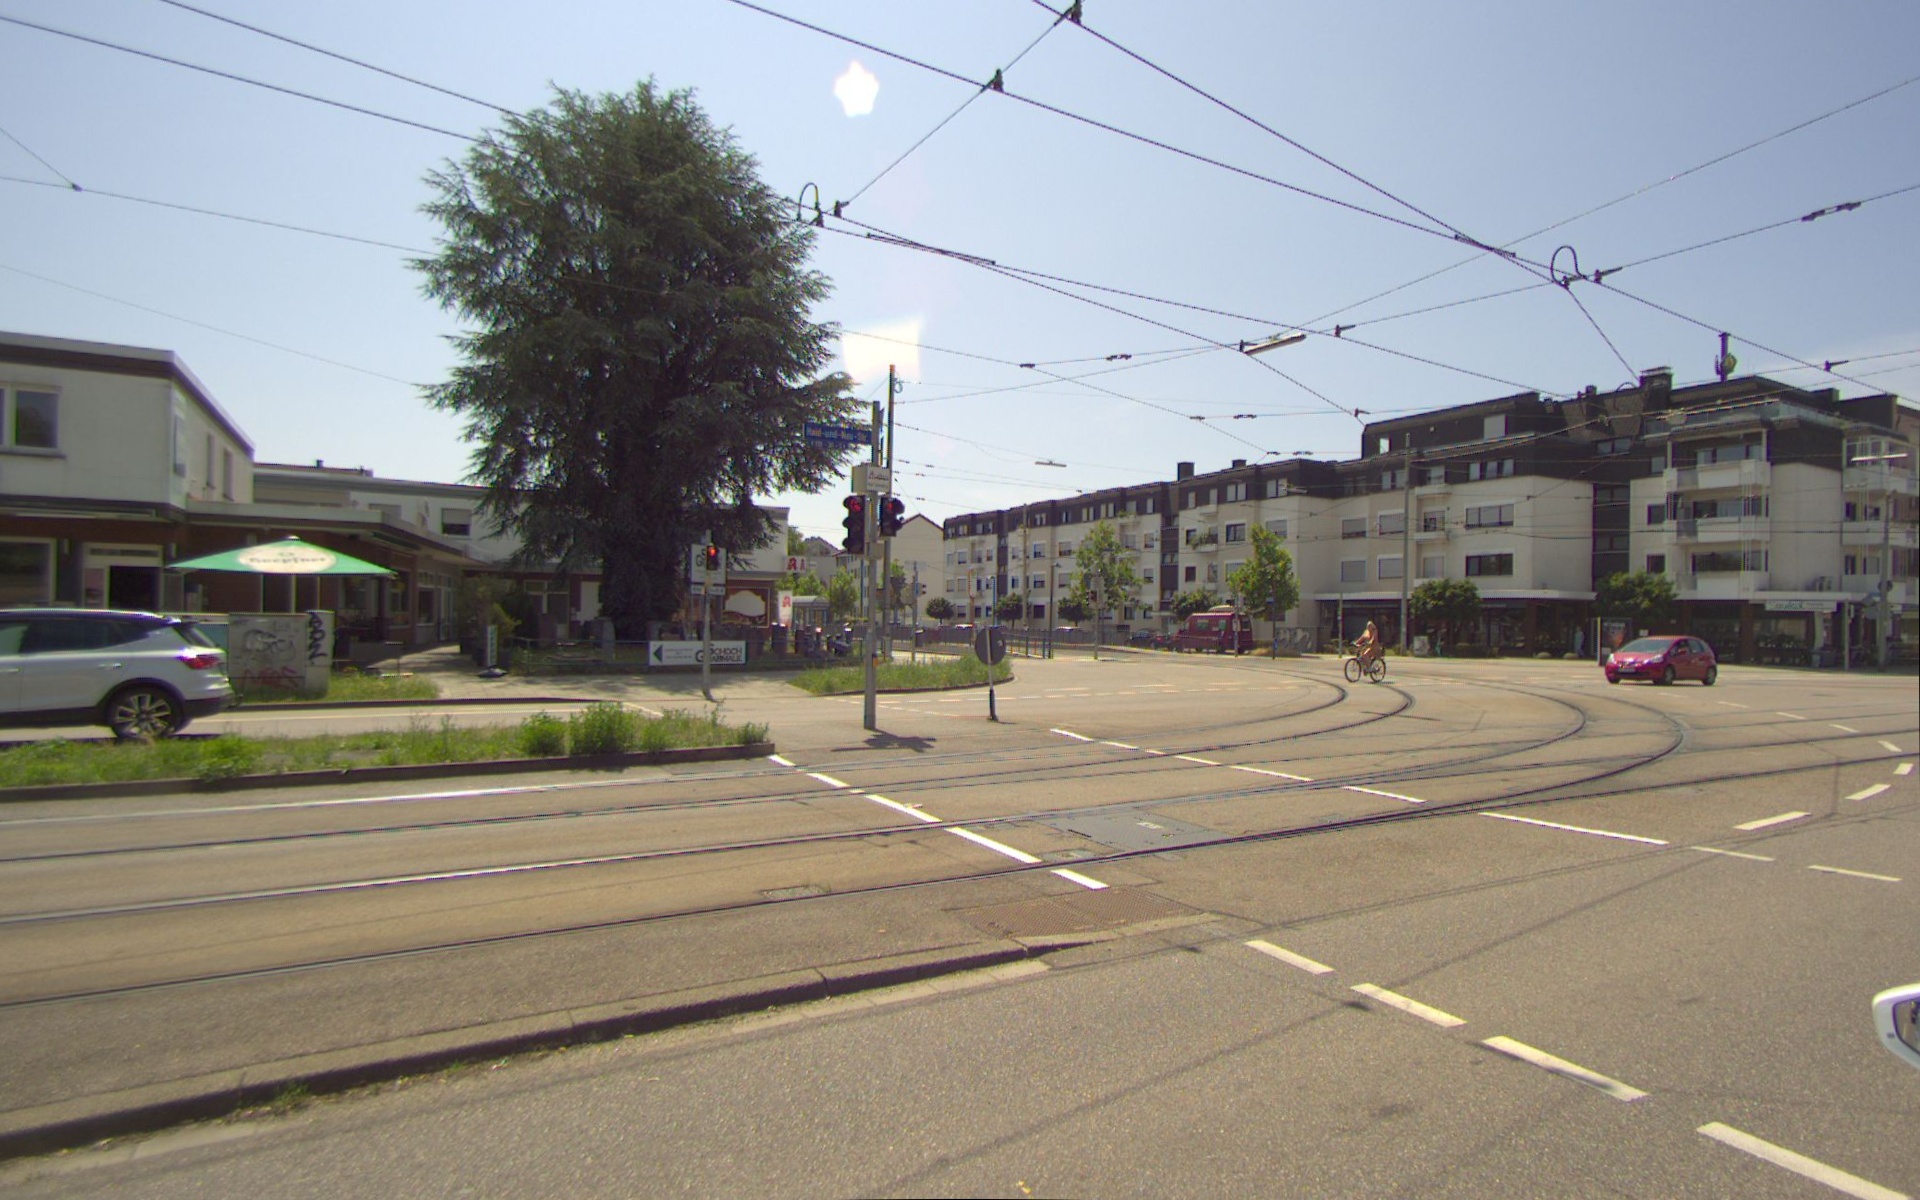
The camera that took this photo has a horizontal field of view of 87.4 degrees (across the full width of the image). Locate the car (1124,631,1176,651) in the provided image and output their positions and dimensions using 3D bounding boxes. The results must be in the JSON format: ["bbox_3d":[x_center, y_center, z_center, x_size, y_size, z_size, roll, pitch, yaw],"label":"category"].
[{"bbox_3d":[12.805,2.747,67.739,1.571,1.235,3.555,1,-2,-28],"label":"car"}]

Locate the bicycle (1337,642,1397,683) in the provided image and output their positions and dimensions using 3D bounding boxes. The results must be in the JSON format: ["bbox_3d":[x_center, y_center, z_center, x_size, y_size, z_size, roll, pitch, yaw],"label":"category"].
[{"bbox_3d":[12.262,1.869,30.247,1.909,1.164,0.691,1,-1,-31],"label":"bicycle"}]

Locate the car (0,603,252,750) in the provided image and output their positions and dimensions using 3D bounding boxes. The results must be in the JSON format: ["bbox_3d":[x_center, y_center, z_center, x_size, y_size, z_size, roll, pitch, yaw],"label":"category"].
[{"bbox_3d":[-10.784,0.869,11.654,4.096,1.573,1.982,2,-4,-34],"label":"car"}]

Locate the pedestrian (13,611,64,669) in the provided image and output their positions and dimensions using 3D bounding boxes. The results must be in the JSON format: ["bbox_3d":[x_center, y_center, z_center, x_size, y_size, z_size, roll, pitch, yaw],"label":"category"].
[{"bbox_3d":[-19.743,0.851,21.528,0.666,1.215,0.515,2,-1,-30],"label":"pedestrian"}]

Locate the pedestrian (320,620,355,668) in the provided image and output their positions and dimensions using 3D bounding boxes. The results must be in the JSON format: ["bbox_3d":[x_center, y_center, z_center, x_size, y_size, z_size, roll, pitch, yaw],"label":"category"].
[{"bbox_3d":[-14.852,1.045,23.985,0.666,1.142,0.515,2,-1,-30],"label":"pedestrian"}]

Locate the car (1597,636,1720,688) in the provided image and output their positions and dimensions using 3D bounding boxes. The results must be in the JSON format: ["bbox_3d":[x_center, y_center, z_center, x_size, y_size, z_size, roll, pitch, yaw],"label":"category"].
[{"bbox_3d":[21.783,1.905,31.298,3.781,1.503,1.618,2,-1,-28],"label":"car"}]

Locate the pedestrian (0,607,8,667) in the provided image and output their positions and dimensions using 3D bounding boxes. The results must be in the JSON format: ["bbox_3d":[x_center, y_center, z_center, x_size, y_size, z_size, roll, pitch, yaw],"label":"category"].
[{"bbox_3d":[-20.022,0.759,20.654,0.485,1.255,0.572,1,-1,-30],"label":"pedestrian"}]

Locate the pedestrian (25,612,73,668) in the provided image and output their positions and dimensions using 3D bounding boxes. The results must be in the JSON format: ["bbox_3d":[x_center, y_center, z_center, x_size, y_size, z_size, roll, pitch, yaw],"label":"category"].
[{"bbox_3d":[-20.025,0.875,22.089,0.666,1.225,0.515,2,-1,-30],"label":"pedestrian"}]

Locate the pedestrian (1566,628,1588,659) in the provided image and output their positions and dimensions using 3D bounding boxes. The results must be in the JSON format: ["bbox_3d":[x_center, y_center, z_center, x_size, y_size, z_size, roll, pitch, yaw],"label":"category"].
[{"bbox_3d":[34.183,2.418,55.648,0.797,1.719,0.697,1,-1,-27],"label":"pedestrian"}]

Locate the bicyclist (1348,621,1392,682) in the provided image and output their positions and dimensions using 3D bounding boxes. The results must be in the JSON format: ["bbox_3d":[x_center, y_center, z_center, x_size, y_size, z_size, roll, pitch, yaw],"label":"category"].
[{"bbox_3d":[12.359,1.544,30.286,1.124,1.789,0.691,0,-1,-31],"label":"bicyclist"}]

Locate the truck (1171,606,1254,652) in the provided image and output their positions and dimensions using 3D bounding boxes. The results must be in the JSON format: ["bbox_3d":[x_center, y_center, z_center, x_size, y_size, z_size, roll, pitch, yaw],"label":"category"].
[{"bbox_3d":[15.675,1.801,62.607,2.160,2.734,5.005,1,-2,-29],"label":"truck"}]

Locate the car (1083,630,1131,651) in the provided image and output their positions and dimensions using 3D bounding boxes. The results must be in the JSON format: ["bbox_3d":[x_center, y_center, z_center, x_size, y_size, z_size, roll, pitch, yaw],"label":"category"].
[{"bbox_3d":[10.481,2.875,71.927,1.571,1.452,3.555,1,-2,-28],"label":"car"}]
